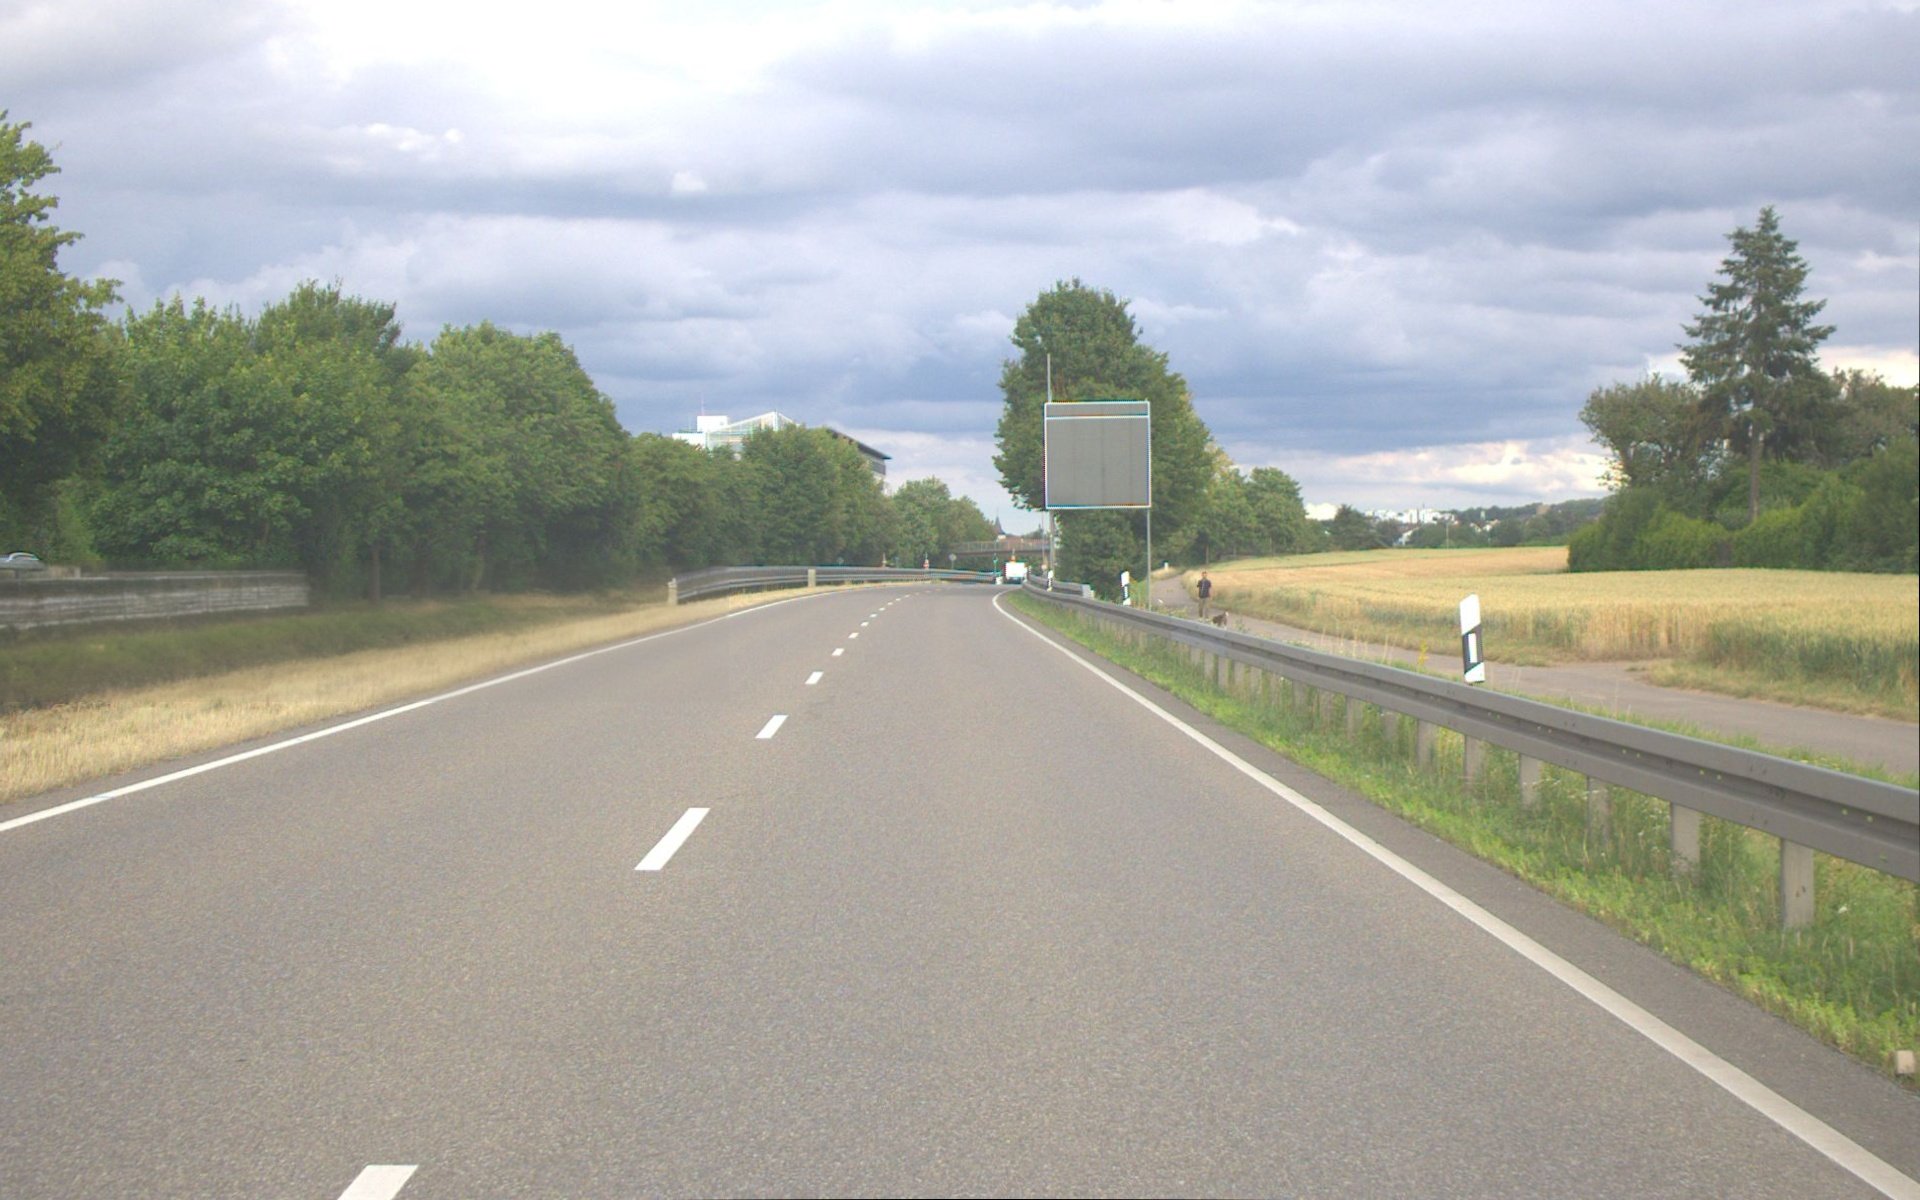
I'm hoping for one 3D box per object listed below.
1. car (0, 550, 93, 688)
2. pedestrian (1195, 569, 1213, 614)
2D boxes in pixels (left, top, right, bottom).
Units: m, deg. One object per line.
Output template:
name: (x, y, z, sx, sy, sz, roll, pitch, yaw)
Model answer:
car: (-12.286, 0.224, 42.702, 1.797, 1.620, 4.483, -2, 1, 1)
pedestrian: (9.162, -0.322, 129.015, 0.601, 1.660, 0.543, 1, 0, -2)
